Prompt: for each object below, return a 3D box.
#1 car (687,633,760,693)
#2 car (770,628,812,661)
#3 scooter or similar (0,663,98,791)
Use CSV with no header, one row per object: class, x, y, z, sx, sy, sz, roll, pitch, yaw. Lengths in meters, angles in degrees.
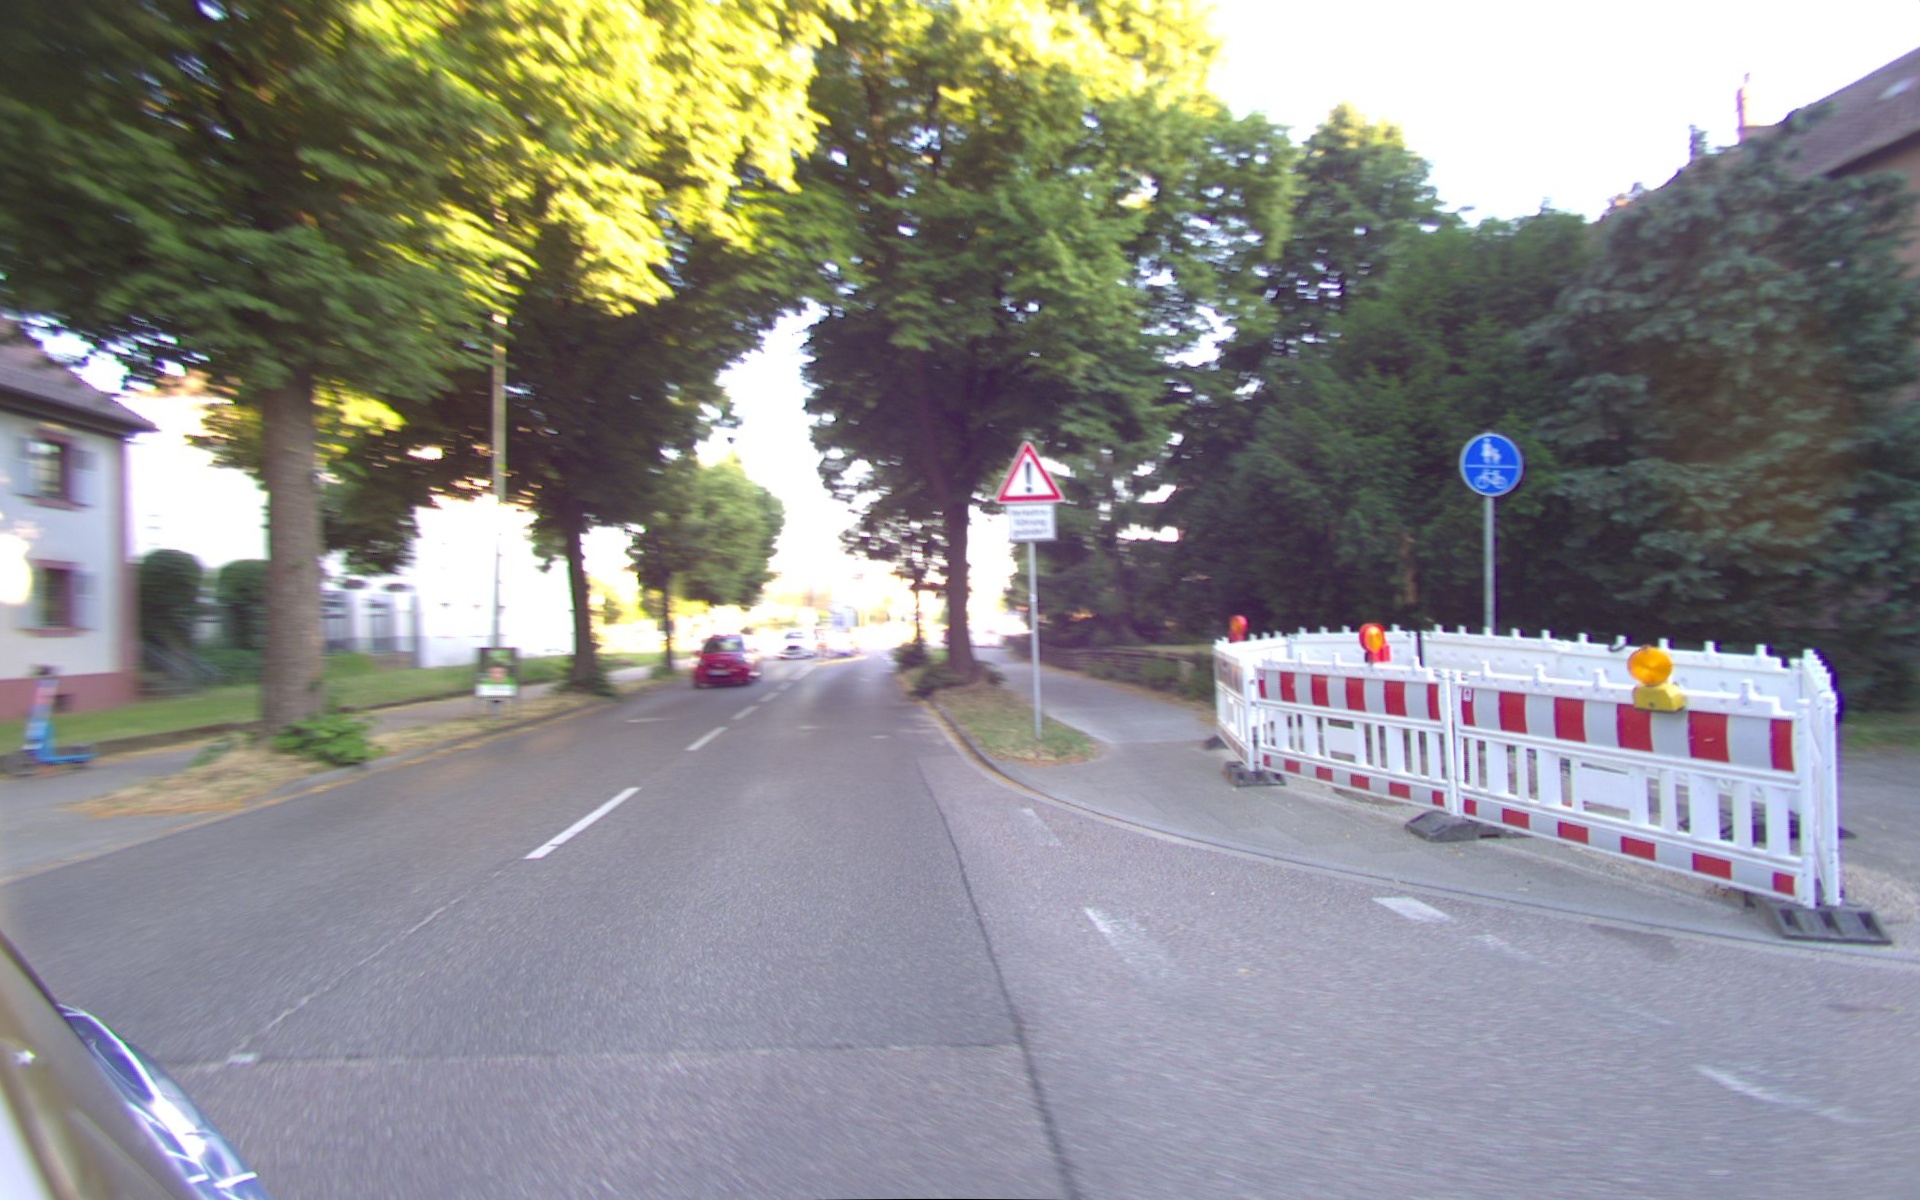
car,-6.738,1.757,29.237,1.594,1.423,4.418,-3,0,-8
car,-9.064,2.363,54.659,1.764,1.568,4.414,-3,0,-4
scooter or similar,-10.190,1.382,11.321,0.236,1.285,1.270,-1,-1,-11
